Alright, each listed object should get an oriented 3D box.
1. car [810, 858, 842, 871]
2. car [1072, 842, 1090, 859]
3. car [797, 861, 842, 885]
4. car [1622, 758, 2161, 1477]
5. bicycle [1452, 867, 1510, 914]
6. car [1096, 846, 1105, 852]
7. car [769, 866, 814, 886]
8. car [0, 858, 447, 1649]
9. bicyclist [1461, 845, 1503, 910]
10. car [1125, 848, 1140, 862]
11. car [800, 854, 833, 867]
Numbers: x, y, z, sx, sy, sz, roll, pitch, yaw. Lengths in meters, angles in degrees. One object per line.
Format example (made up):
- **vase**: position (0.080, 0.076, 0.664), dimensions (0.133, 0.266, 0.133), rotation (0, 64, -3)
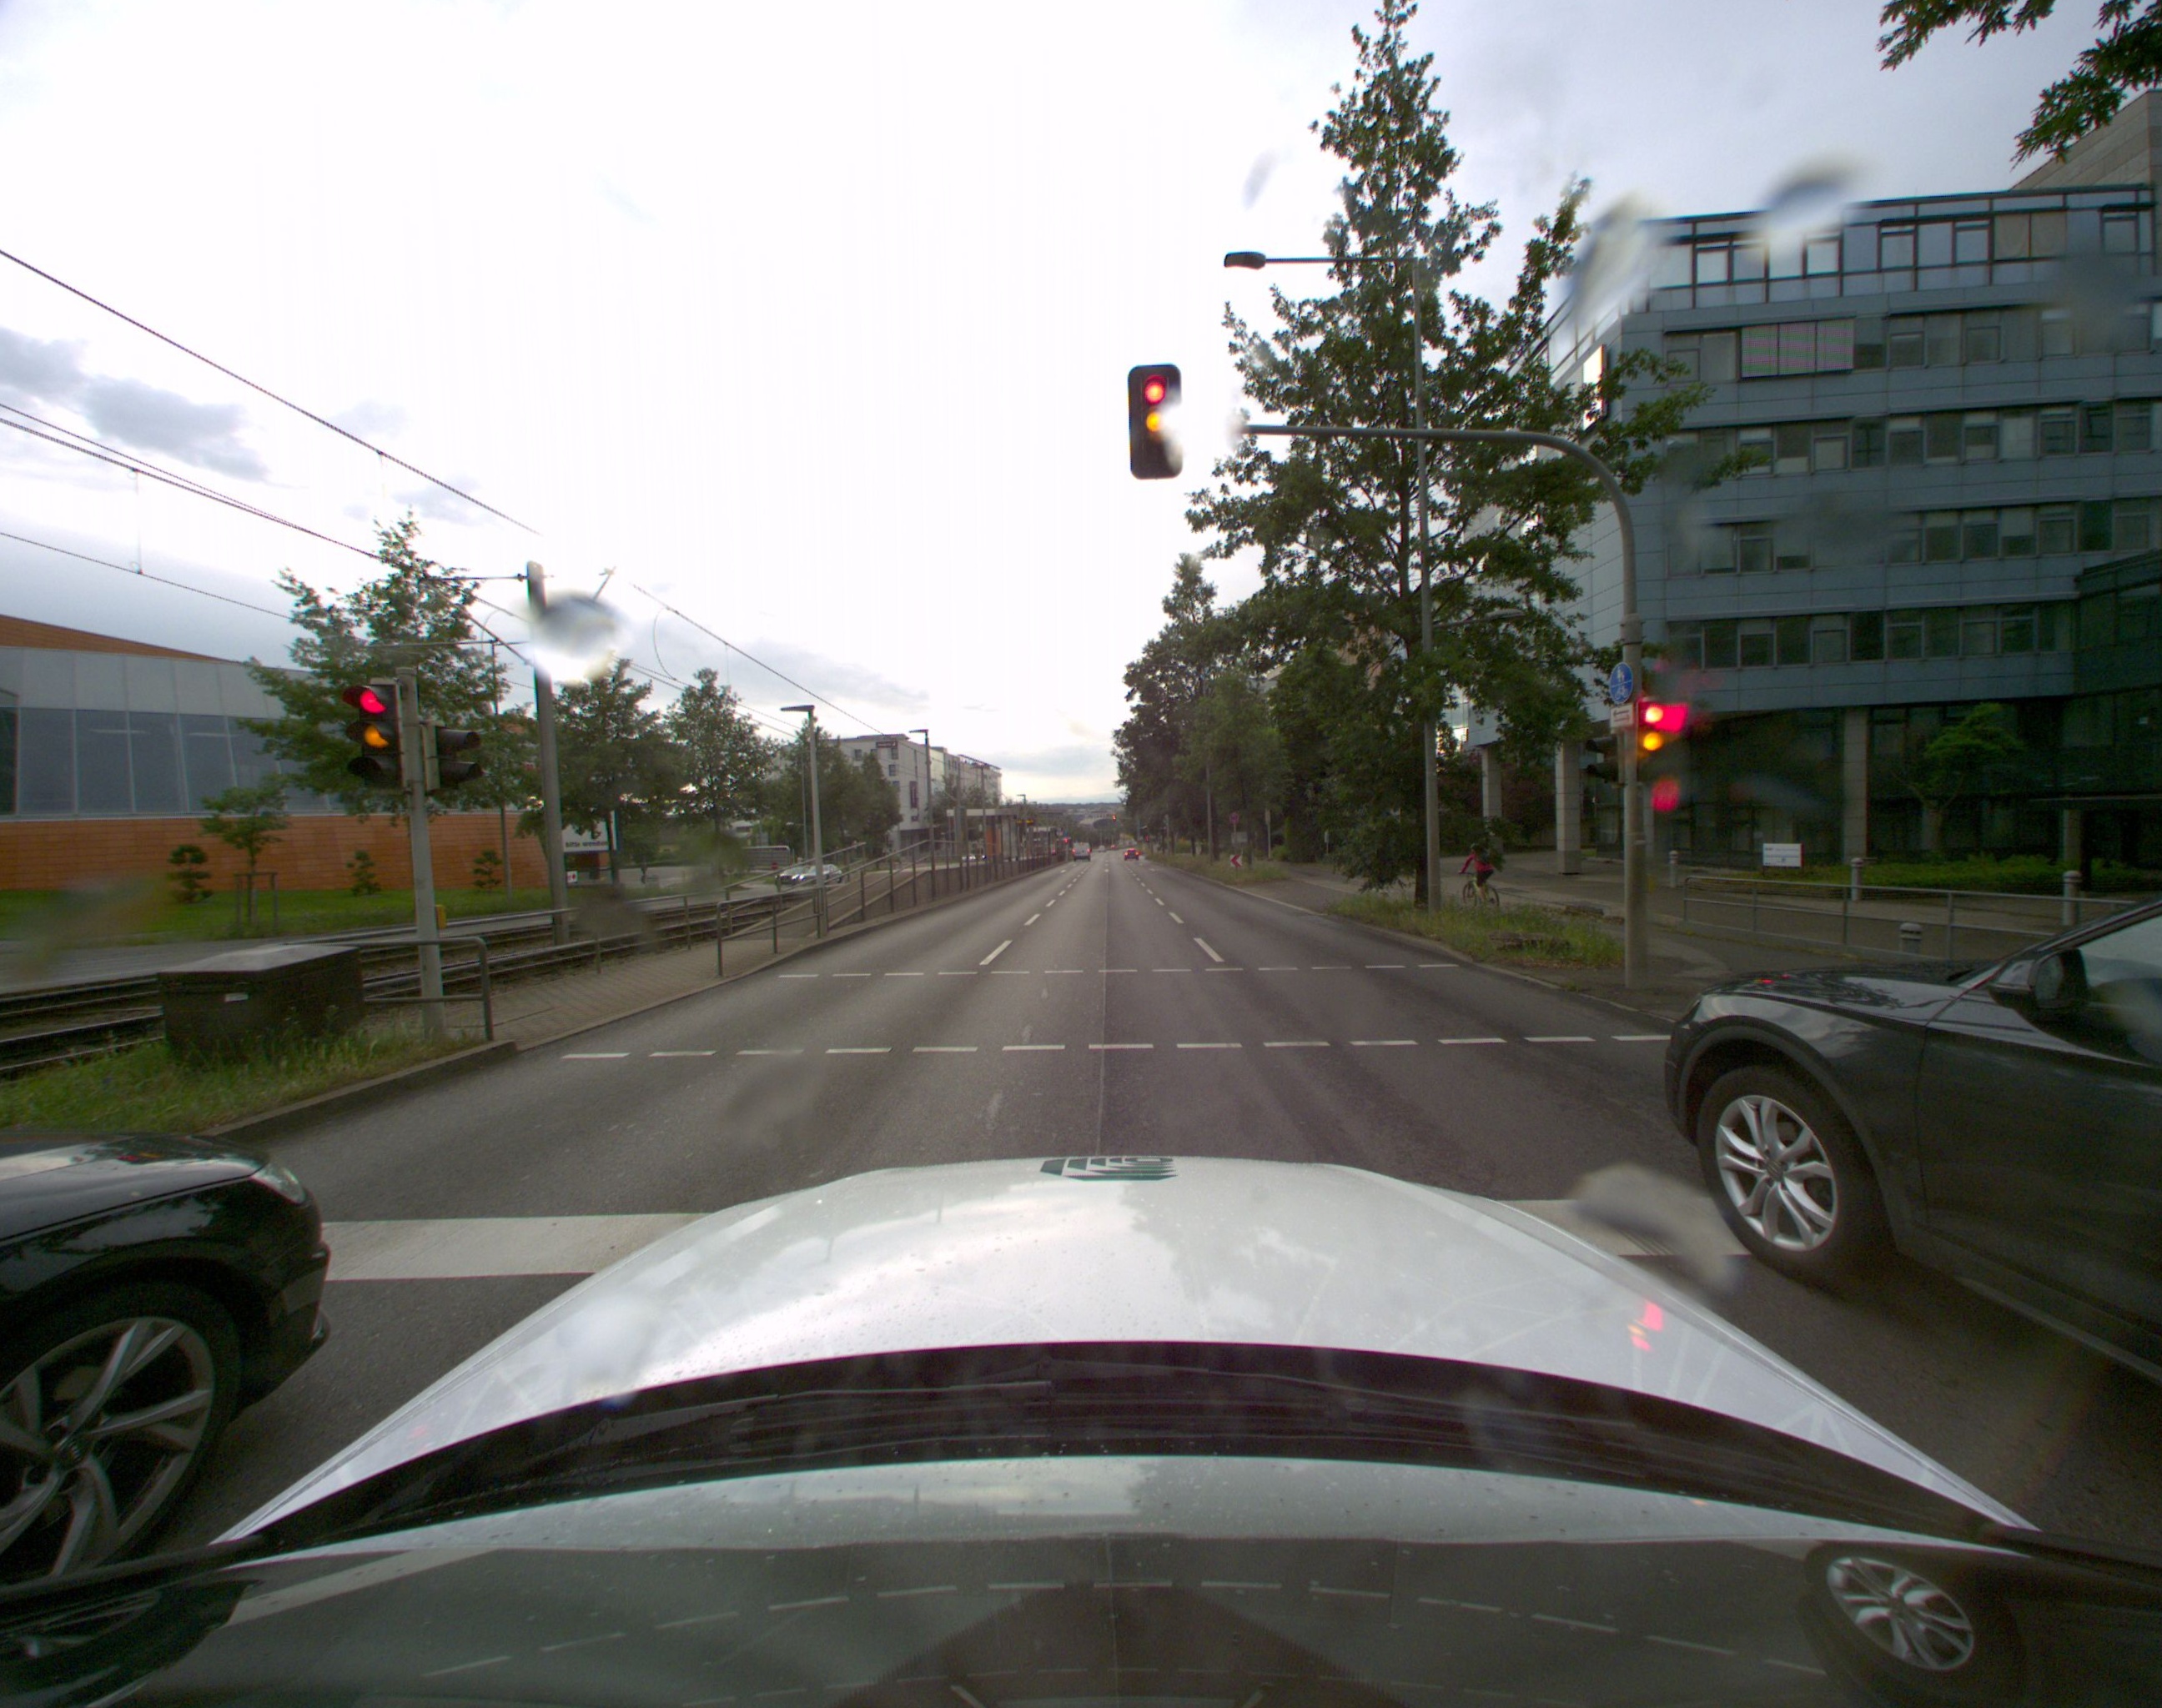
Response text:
- **car**: position (-30.254, 1.254, 96.476), dimensions (3.341, 1.387, 1.440), rotation (-1, 0, 18)
- **car**: position (-0.023, -0.445, 102.721), dimensions (2.085, 2.053, 4.608), rotation (-1, 0, 2)
- **car**: position (-17.701, 1.282, 55.349), dimensions (1.645, 1.436, 3.880), rotation (-4, 0, 1)
- **car**: position (3.304, 0.575, 1.434), dimensions (1.811, 1.612, 4.472), rotation (-1, 0, 1)
- **bicycle**: position (10.077, 0.891, 20.573), dimensions (0.578, 1.088, 1.906), rotation (0, 0, 2)
- **car**: position (4.821, -1.247, 197.938), dimensions (1.773, 1.390, 4.008), rotation (-2, 0, 7)
- **car**: position (-20.708, 1.526, 58.435), dimensions (1.644, 1.237, 3.970), rotation (-1, 1, 2)
- **car**: position (-2.954, 0.776, 0.305), dimensions (1.774, 1.466, 4.515), rotation (-1, 0, 2)
- **bicyclist**: position (10.036, 0.577, 20.385), dimensions (0.643, 1.578, 0.855), rotation (0, 0, 1)
- **car**: position (6.490, 0.111, 102.842), dimensions (1.767, 1.691, 3.847), rotation (-1, 0, 2)
- **car**: position (-30.303, 0.748, 93.275), dimensions (3.341, 1.387, 1.440), rotation (-1, 0, 18)
